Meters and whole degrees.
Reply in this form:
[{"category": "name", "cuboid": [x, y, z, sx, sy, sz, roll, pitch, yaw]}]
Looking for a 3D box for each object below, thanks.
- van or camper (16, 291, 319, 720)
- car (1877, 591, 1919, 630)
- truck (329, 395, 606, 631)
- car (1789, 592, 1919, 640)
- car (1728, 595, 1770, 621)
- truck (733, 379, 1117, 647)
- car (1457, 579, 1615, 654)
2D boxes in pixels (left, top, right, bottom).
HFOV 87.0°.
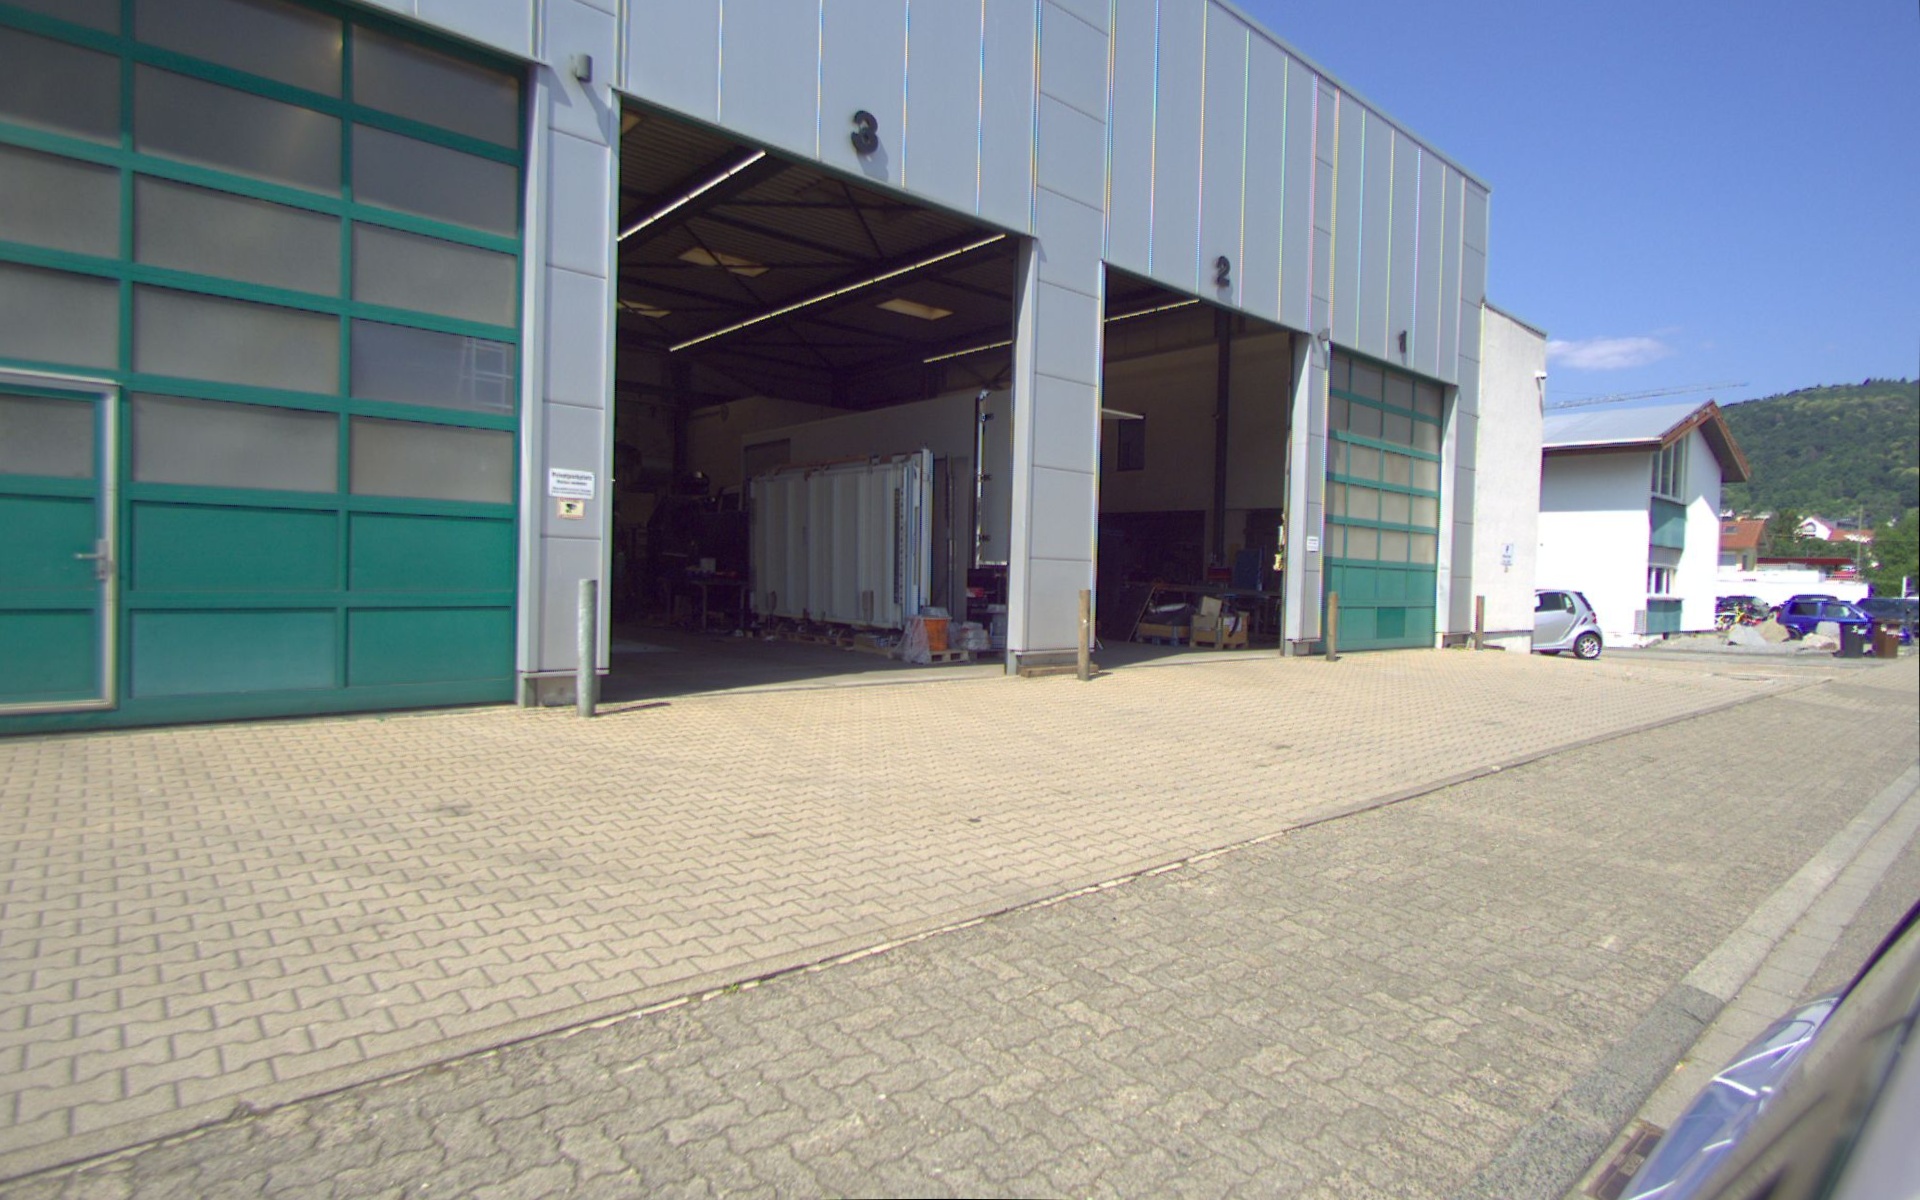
[{"category": "van or camper", "cuboid": [-8.135, -0.802, 10.201, 1.966, 3.245, 5.049, 0, 2, -43]}, {"category": "car", "cuboid": [38.709, 0.407, 41.385, 1.445, 1.514, 3.144, 3, 2, 37]}, {"category": "truck", "cuboid": [-9.433, -1.478, 18.819, 2.721, 3.501, 7.568, 0, 2, -41]}, {"category": "car", "cuboid": [26.894, 0.439, 30.340, 1.427, 1.357, 2.973, -1, 0, -40]}, {"category": "car", "cuboid": [44.346, 0.432, 56.861, 3.135, 1.396, 1.449, -1, 0, -45]}, {"category": "truck", "cuboid": [-1.051, -1.431, 18.316, 2.578, 3.828, 7.853, 0, 2, -40]}, {"category": "car", "cuboid": [13.041, 0.357, 23.001, 2.771, 1.553, 1.312, 2, 0, 2]}]
